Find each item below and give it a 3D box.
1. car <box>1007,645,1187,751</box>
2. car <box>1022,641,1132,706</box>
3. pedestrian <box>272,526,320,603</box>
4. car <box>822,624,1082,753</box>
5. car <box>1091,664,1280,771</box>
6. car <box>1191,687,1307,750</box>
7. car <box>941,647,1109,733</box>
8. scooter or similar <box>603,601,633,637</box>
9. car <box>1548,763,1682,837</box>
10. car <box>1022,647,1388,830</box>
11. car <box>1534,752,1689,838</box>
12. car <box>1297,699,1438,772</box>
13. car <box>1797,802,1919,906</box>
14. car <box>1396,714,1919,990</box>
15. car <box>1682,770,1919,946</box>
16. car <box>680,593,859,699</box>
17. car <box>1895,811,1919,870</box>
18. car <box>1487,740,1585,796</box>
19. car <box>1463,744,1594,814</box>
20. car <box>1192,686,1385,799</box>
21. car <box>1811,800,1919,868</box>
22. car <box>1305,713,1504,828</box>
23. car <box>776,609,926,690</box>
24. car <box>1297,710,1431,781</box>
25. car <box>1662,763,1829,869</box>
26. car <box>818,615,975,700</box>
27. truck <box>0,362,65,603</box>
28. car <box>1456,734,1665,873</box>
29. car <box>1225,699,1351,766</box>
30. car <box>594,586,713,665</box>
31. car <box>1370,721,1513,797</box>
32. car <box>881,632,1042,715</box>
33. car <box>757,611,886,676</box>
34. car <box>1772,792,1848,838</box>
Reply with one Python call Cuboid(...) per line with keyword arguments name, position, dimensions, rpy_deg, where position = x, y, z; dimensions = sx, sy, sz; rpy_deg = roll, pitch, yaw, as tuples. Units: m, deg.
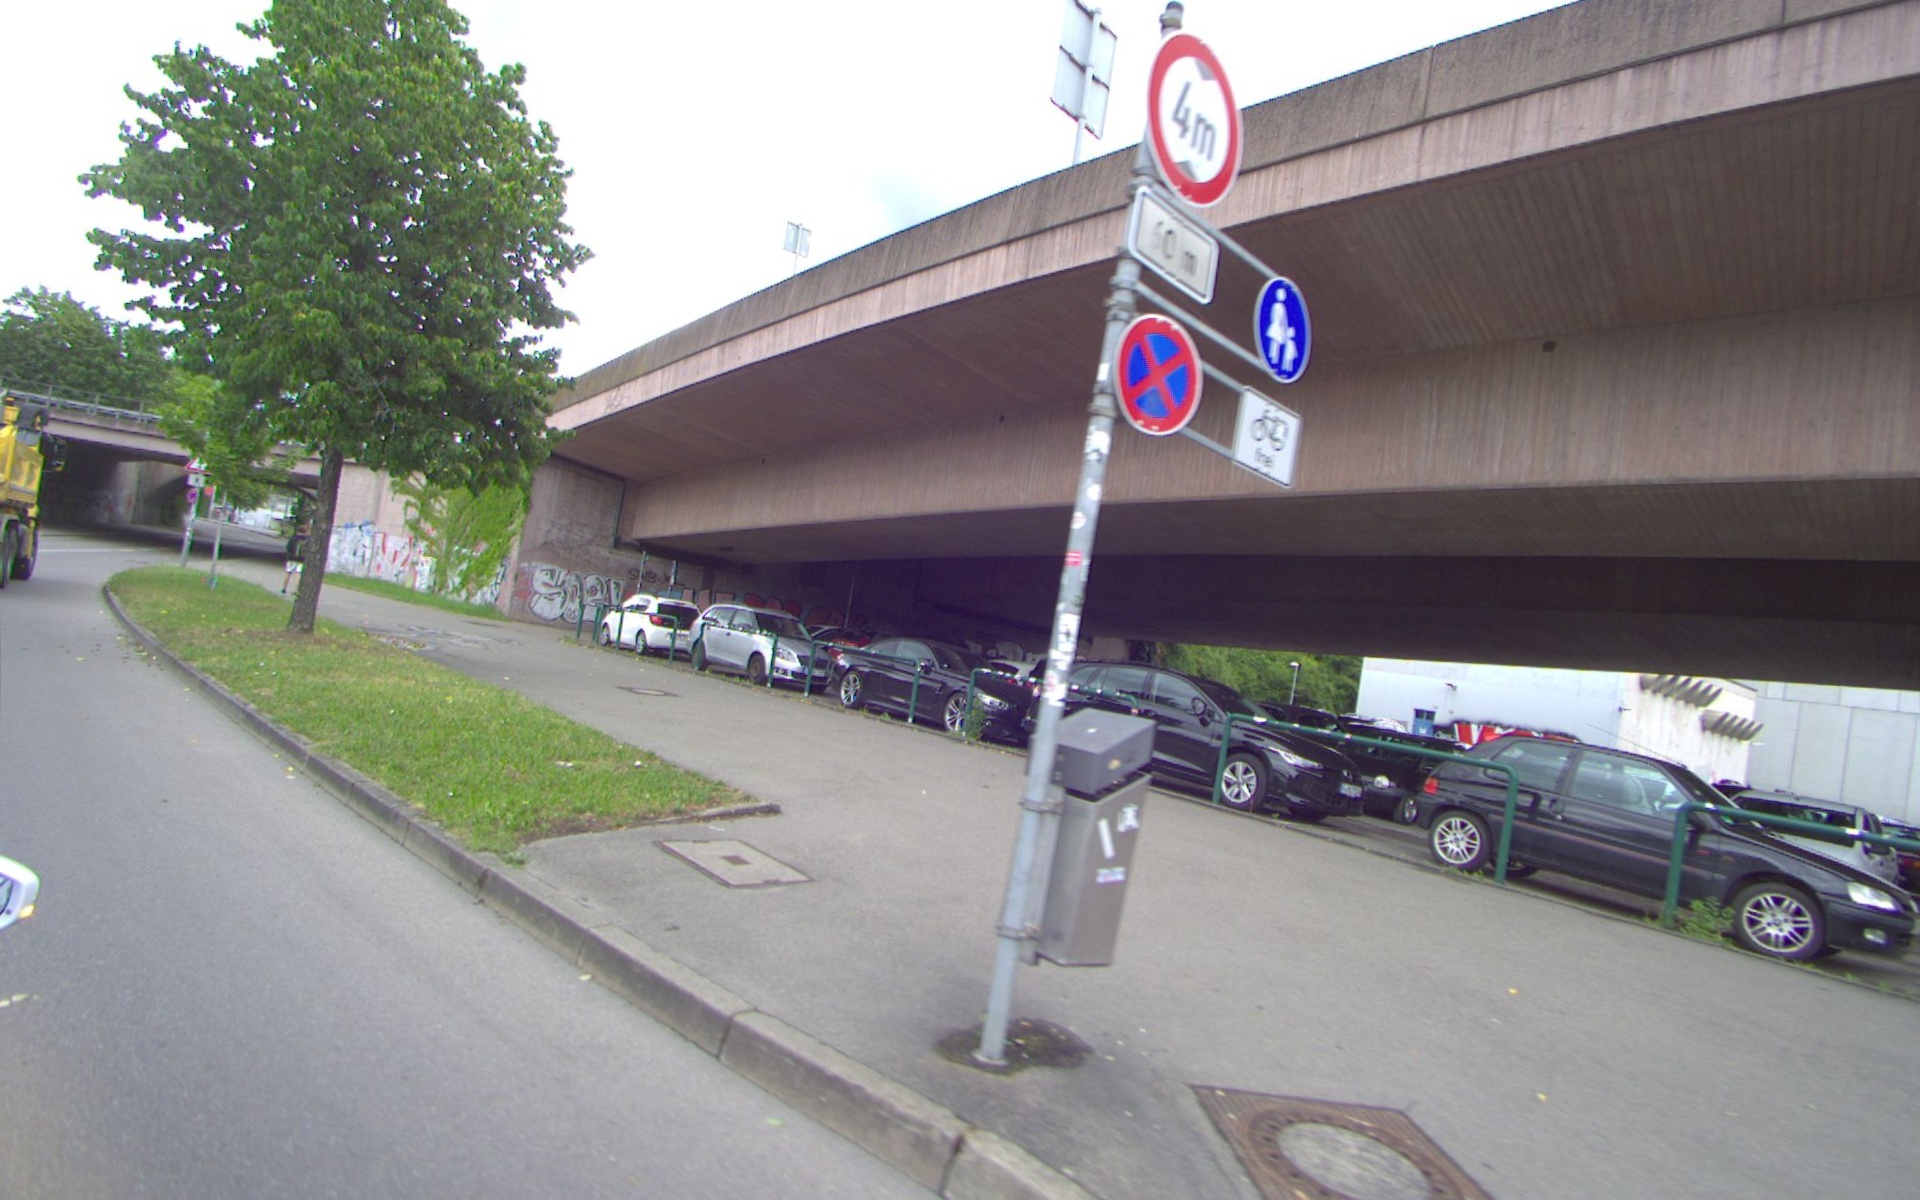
Cuboid(name="car", position=(3.048, 2.168, 21.904), dimensions=(1.736, 1.712, 3.845), rpy_deg=(8, -3, 45))
Cuboid(name="car", position=(4.401, 2.765, 37.699), dimensions=(3.639, 1.808, 1.864), rpy_deg=(12, -3, -38))
Cuboid(name="pedestrian", position=(-17.996, -0.965, 27.270), dimensions=(0.732, 1.928, 0.816), rpy_deg=(10, -2, -41))
Cuboid(name="car", position=(-0.272, 1.361, 16.296), dimensions=(1.761, 1.335, 4.327), rpy_deg=(12, -4, -39))
Cuboid(name="car", position=(4.586, 2.387, 20.107), dimensions=(1.736, 1.572, 3.845), rpy_deg=(8, -3, 45))
Cuboid(name="car", position=(9.321, 3.832, 32.372), dimensions=(3.639, 1.442, 1.661), rpy_deg=(12, -3, -38))
Cuboid(name="car", position=(1.605, 2.166, 23.868), dimensions=(1.736, 1.449, 3.845), rpy_deg=(8, -3, 45))
Cuboid(name="scooter or similar", position=(-11.350, 0.643, 33.391), dimensions=(0.265, 1.142, 1.681), rpy_deg=(9, -2, 0))
Cuboid(name="car", position=(18.376, 5.611, 28.166), dimensions=(4.164, 1.481, 1.819), rpy_deg=(12, -3, -38))
Cuboid(name="car", position=(2.839, 1.611, 12.480), dimensions=(1.502, 1.434, 4.202), rpy_deg=(13, -5, -39))
Cuboid(name="car", position=(15.350, 4.602, 23.652), dimensions=(3.836, 1.442, 1.819), rpy_deg=(12, -3, -38))
Cuboid(name="car", position=(13.886, 4.637, 34.175), dimensions=(5.073, 1.695, 2.069), rpy_deg=(12, -3, -38))
Cuboid(name="car", position=(18.288, 4.989, 19.621), dimensions=(4.344, 1.485, 1.822), rpy_deg=(12, -4, -34))
Cuboid(name="car", position=(6.010, 2.032, 8.745), dimensions=(1.502, 1.342, 3.661), rpy_deg=(15, -6, -37))
Cuboid(name="car", position=(10.742, 3.189, 12.748), dimensions=(3.989, 1.569, 1.620), rpy_deg=(12, -3, -41))
Cuboid(name="car", position=(-4.039, 0.903, 20.863), dimensions=(1.609, 1.552, 4.021), rpy_deg=(12, -4, -42))
Cuboid(name="car", position=(30.028, 7.462, 30.455), dimensions=(4.164, 1.609, 1.819), rpy_deg=(12, -3, -38))
Cuboid(name="car", position=(22.867, 6.689, 39.916), dimensions=(4.164, 1.609, 1.819), rpy_deg=(12, -3, -38))
Cuboid(name="car", position=(16.924, 5.328, 29.877), dimensions=(4.164, 1.481, 1.819), rpy_deg=(12, -3, -38))
Cuboid(name="car", position=(6.169, 2.686, 18.670), dimensions=(1.677, 1.572, 3.845), rpy_deg=(8, -3, 45))
Cuboid(name="car", position=(28.998, 7.504, 32.162), dimensions=(4.164, 1.609, 1.819), rpy_deg=(12, -3, -38))
Cuboid(name="car", position=(7.619, 2.937, 17.078), dimensions=(1.677, 1.459, 3.845), rpy_deg=(8, -3, 45))
Cuboid(name="car", position=(-3.054, 1.445, 28.735), dimensions=(1.736, 1.656, 3.845), rpy_deg=(8, -3, 45))
Cuboid(name="car", position=(11.736, 4.217, 29.140), dimensions=(3.836, 1.442, 1.819), rpy_deg=(12, -3, -38))
Cuboid(name="car", position=(16.757, 4.626, 21.409), dimensions=(3.836, 1.716, 1.819), rpy_deg=(12, -3, -38))
Cuboid(name="car", position=(-1.647, 1.580, 27.089), dimensions=(1.736, 1.656, 3.845), rpy_deg=(8, -3, 45))
Cuboid(name="truck", position=(-18.432, -2.267, 18.114), dimensions=(2.750, 3.739, 7.792), rpy_deg=(11, -3, -40))
Cuboid(name="car", position=(9.125, 3.051, 15.162), dimensions=(1.677, 1.525, 3.845), rpy_deg=(8, -3, 45))
Cuboid(name="car", position=(10.004, 4.053, 30.581), dimensions=(3.836, 1.442, 1.661), rpy_deg=(12, -3, -38))
Cuboid(name="car", position=(-7.709, 0.604, 25.130), dimensions=(1.569, 1.455, 3.342), rpy_deg=(12, -3, -38))
Cuboid(name="car", position=(12.923, 4.266, 26.923), dimensions=(3.836, 1.442, 1.819), rpy_deg=(12, -3, -38))
Cuboid(name="car", position=(0.098, 1.891, 25.419), dimensions=(1.736, 1.454, 3.845), rpy_deg=(8, -3, 45))
Cuboid(name="car", position=(-4.574, 1.462, 33.563), dimensions=(1.736, 1.494, 3.845), rpy_deg=(8, -3, 45))
Cuboid(name="car", position=(38.763, 9.817, 45.851), dimensions=(3.949, 1.549, 1.751), rpy_deg=(12, -3, -37))
